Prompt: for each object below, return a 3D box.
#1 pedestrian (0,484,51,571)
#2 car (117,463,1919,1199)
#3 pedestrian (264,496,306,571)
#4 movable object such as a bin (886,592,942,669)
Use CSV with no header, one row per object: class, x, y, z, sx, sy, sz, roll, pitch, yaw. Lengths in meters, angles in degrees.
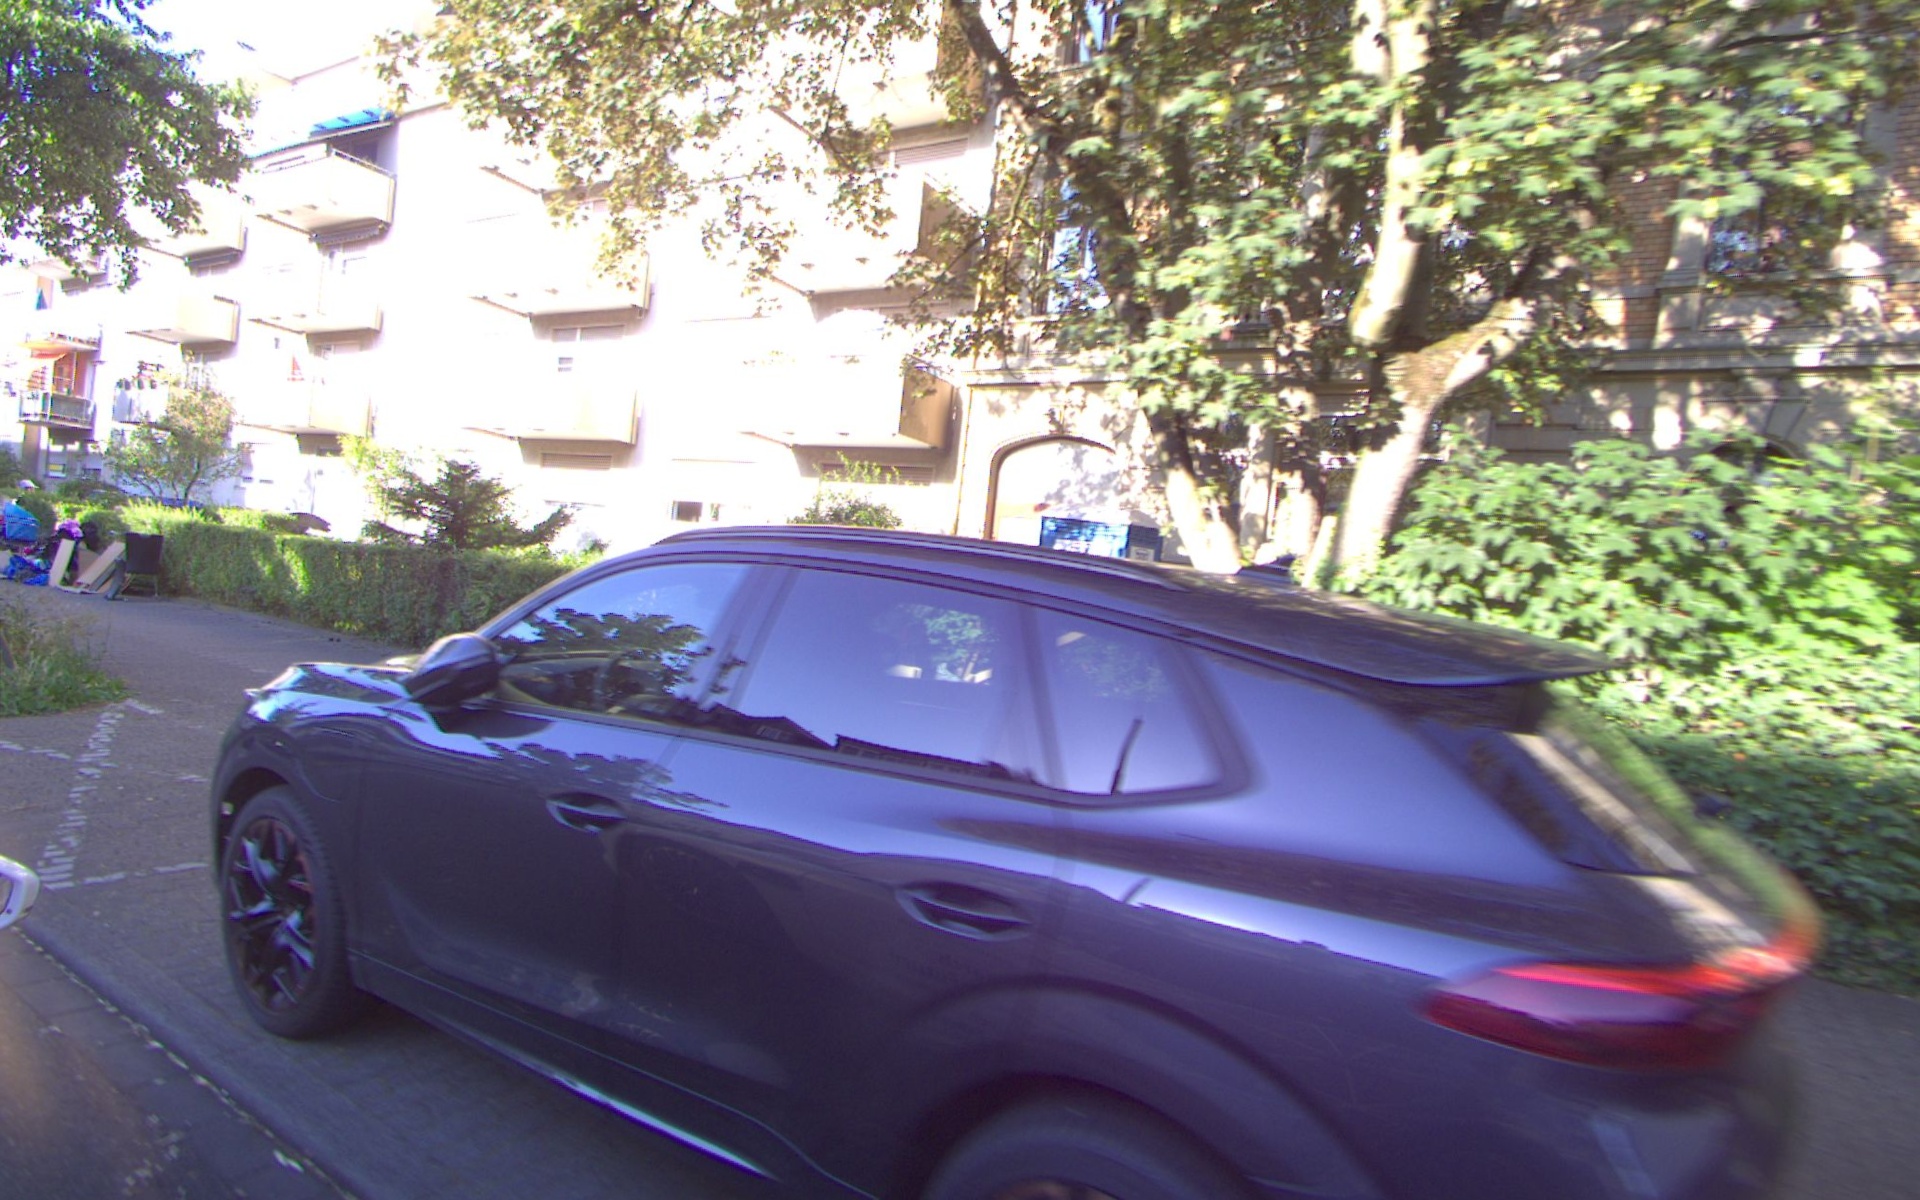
pedestrian,-17.756,-1.353,18.975,0.585,1.560,0.692,6,1,-21
car,-0.385,0.595,2.881,4.240,1.625,1.855,6,3,32
pedestrian,-15.655,-1.533,23.341,0.526,1.661,0.475,6,1,13
movable object such as a bin,-0.683,0.449,14.897,0.611,1.072,0.408,7,1,30
